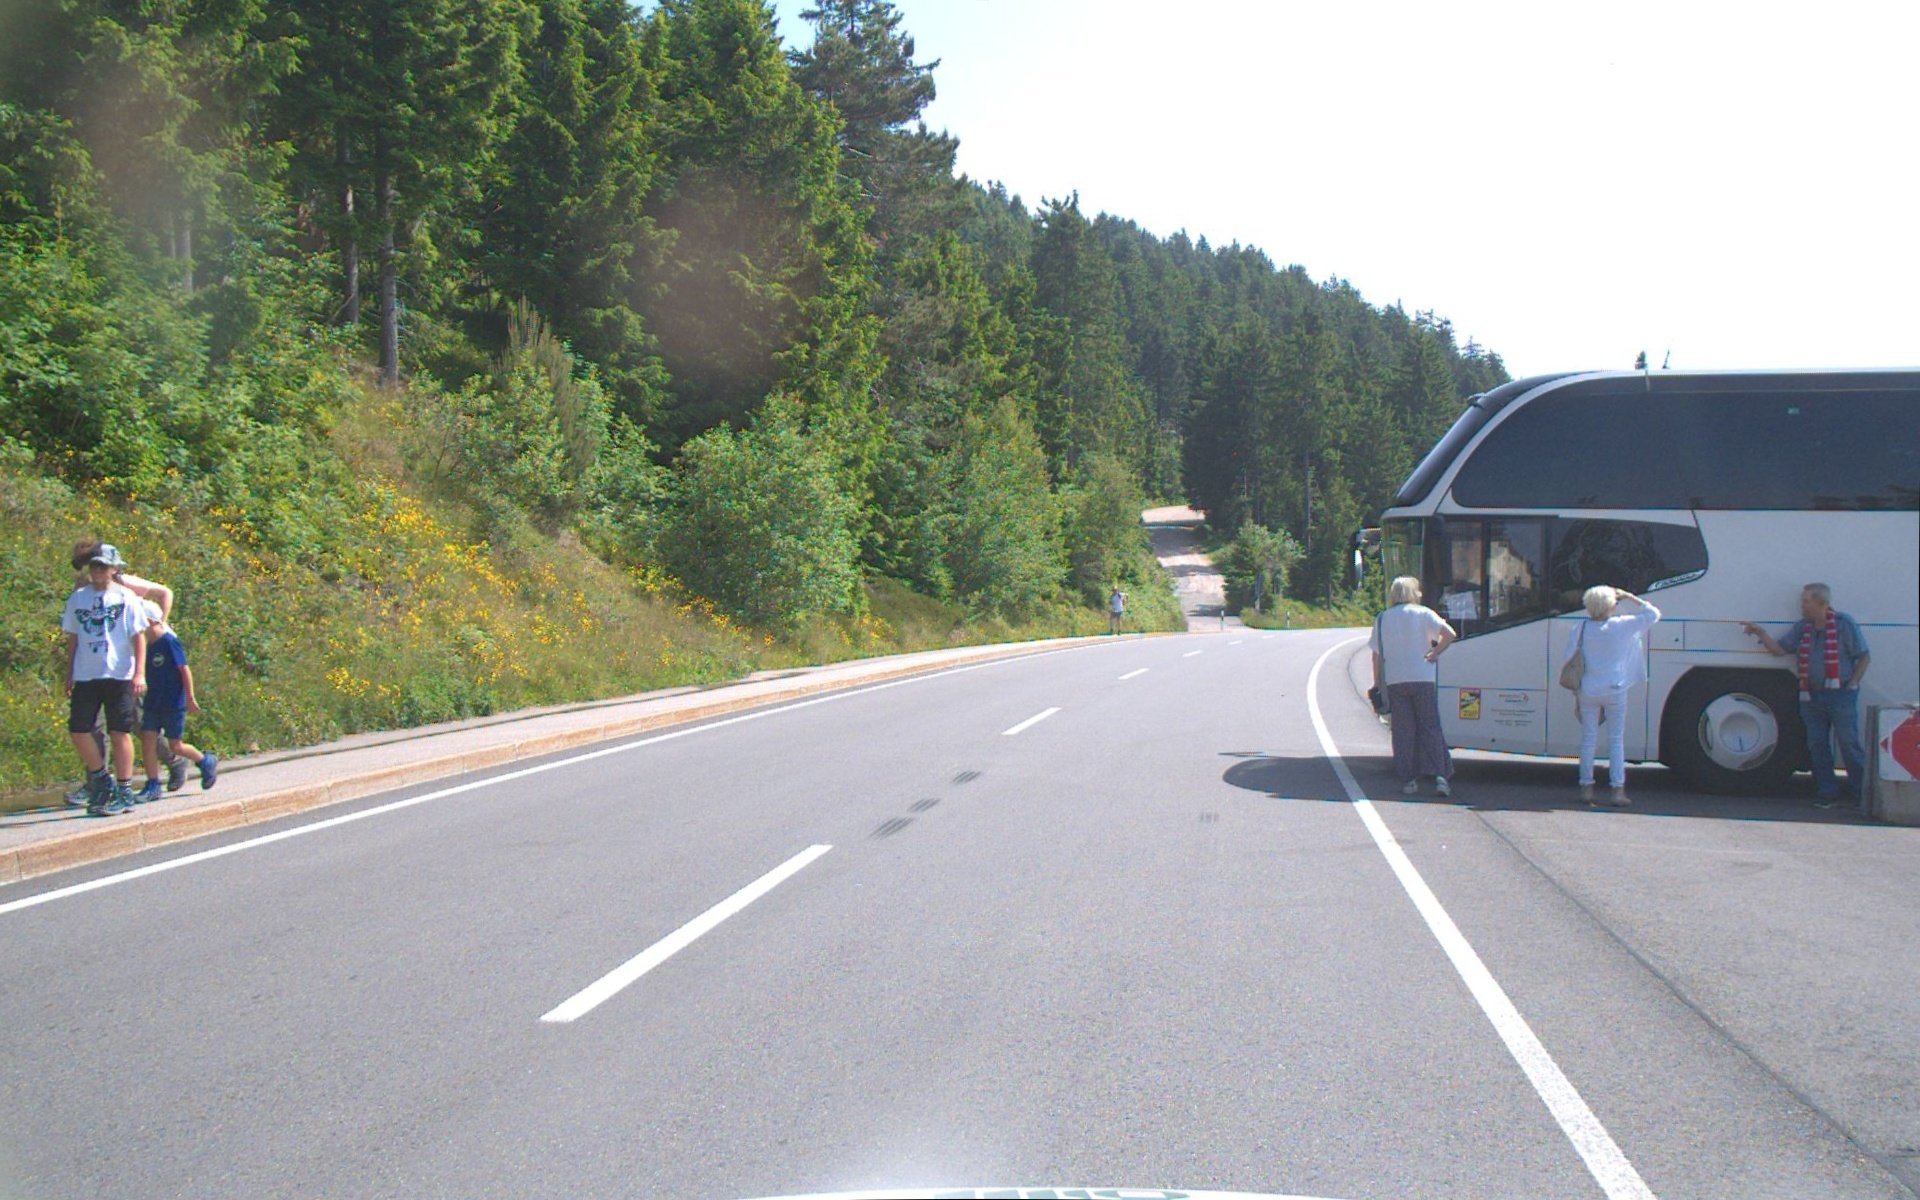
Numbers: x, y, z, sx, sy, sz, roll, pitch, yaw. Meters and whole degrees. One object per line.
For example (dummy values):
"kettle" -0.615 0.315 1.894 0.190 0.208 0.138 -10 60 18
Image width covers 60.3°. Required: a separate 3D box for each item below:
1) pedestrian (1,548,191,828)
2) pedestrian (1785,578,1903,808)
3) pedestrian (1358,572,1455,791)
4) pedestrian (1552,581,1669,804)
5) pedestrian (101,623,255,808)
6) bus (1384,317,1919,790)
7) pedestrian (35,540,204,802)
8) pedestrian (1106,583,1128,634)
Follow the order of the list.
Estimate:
"pedestrian" -5.046 0.486 9.703 0.568 1.564 0.880 0 0 7
"pedestrian" 6.649 0.671 12.472 0.630 1.671 0.745 0 0 15
"pedestrian" 3.509 0.619 13.043 0.691 1.671 0.745 0 0 12
"pedestrian" 4.948 0.674 12.574 0.634 1.623 0.741 0 1 40
"pedestrian" -5.023 0.722 10.660 0.556 1.121 0.745 0 1 10
"bus" 9.966 -0.343 13.484 12.573 3.640 2.841 0 0 15
"pedestrian" -5.601 0.449 11.057 0.564 1.671 0.895 0 0 10
"pedestrian" 5.530 0.296 58.214 0.668 1.777 0.826 1 0 9
